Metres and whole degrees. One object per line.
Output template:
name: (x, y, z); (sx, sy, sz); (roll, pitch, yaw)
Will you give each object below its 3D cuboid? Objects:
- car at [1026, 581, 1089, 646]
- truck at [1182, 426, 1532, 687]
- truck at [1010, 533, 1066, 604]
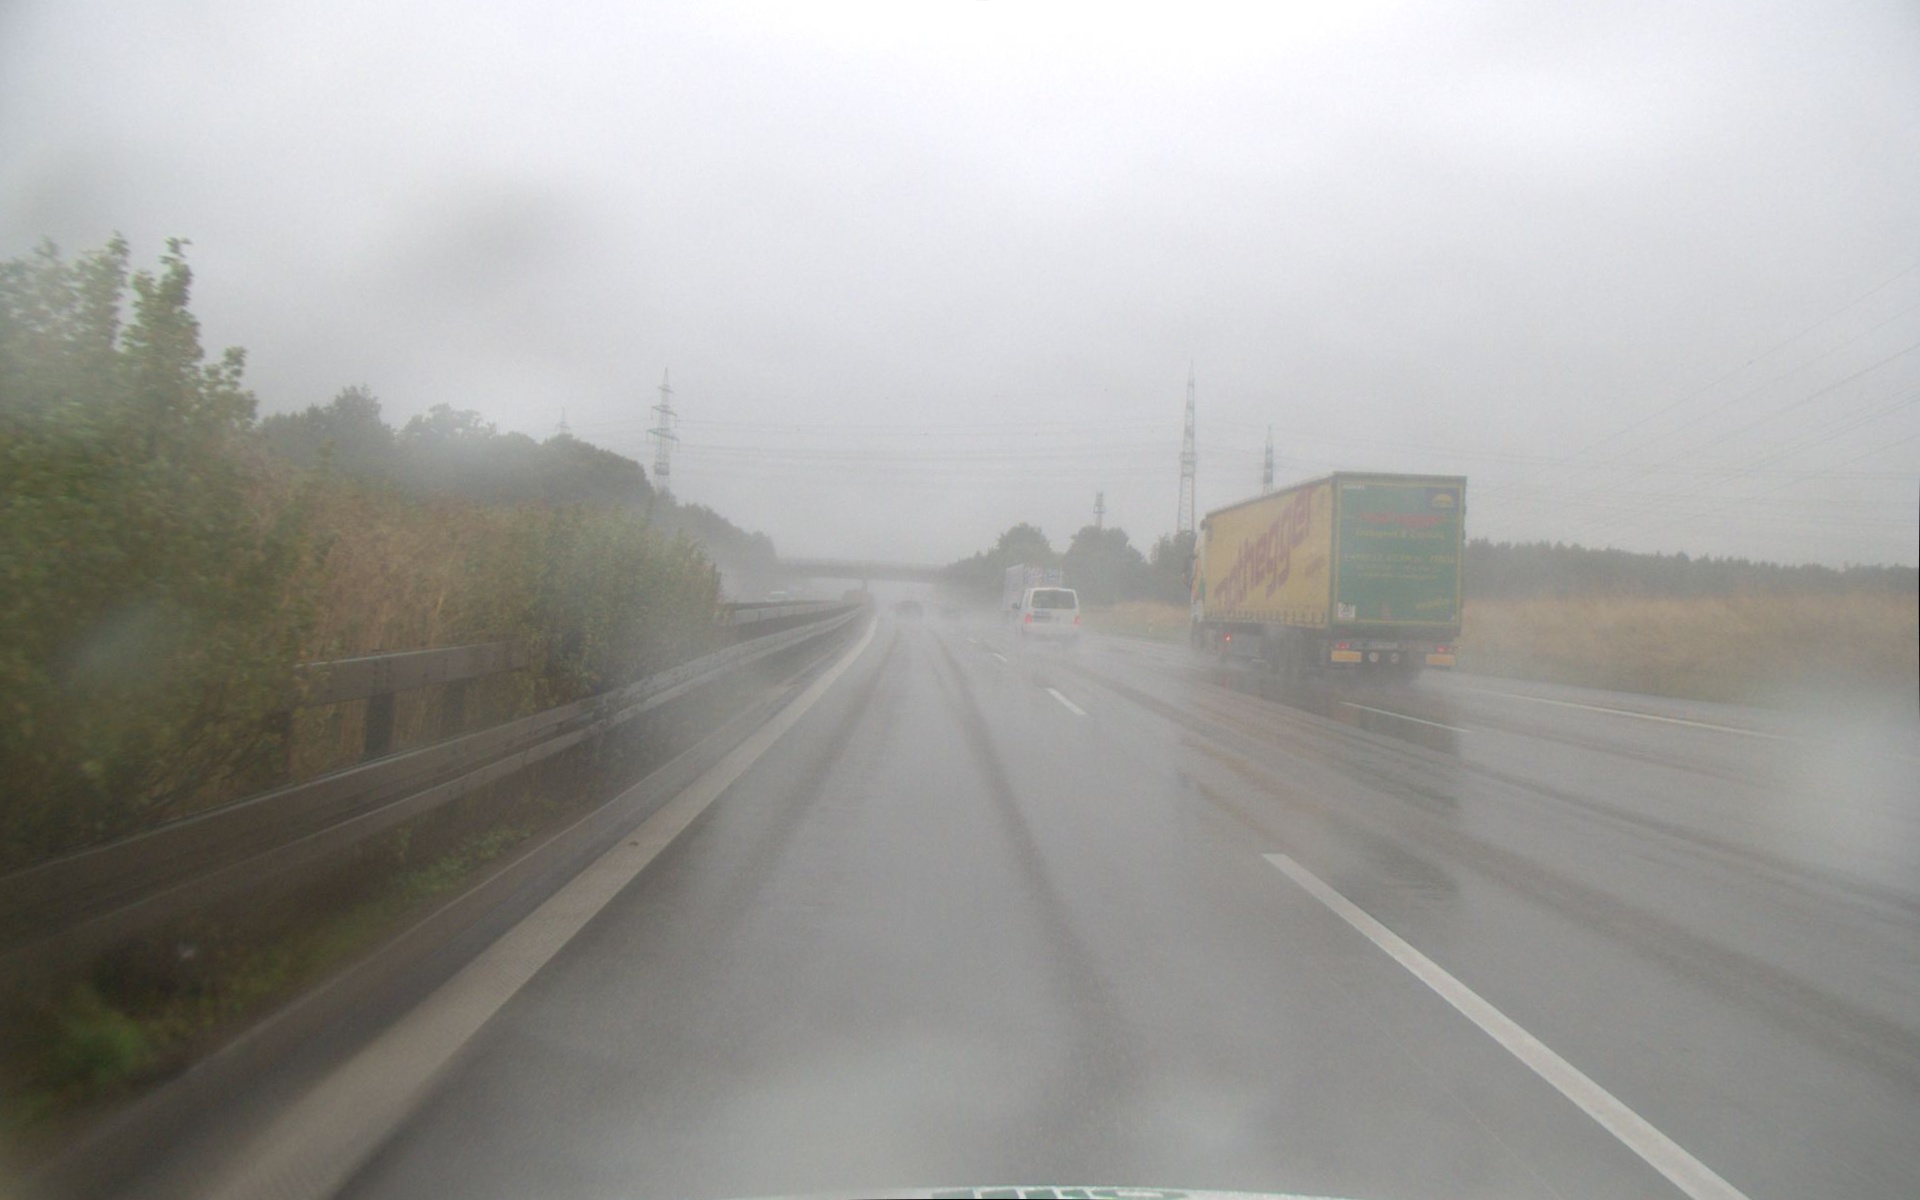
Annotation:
car: (3.238, 0.409, 54.458); (1.951, 2.049, 4.003); (1, 1, 5)
truck: (8.333, -0.823, 38.251); (4.103, 4.711, 16.103); (1, 0, 0)
truck: (4.988, -2.020, 107.346); (3.166, 4.386, 8.836); (1, 1, 0)
